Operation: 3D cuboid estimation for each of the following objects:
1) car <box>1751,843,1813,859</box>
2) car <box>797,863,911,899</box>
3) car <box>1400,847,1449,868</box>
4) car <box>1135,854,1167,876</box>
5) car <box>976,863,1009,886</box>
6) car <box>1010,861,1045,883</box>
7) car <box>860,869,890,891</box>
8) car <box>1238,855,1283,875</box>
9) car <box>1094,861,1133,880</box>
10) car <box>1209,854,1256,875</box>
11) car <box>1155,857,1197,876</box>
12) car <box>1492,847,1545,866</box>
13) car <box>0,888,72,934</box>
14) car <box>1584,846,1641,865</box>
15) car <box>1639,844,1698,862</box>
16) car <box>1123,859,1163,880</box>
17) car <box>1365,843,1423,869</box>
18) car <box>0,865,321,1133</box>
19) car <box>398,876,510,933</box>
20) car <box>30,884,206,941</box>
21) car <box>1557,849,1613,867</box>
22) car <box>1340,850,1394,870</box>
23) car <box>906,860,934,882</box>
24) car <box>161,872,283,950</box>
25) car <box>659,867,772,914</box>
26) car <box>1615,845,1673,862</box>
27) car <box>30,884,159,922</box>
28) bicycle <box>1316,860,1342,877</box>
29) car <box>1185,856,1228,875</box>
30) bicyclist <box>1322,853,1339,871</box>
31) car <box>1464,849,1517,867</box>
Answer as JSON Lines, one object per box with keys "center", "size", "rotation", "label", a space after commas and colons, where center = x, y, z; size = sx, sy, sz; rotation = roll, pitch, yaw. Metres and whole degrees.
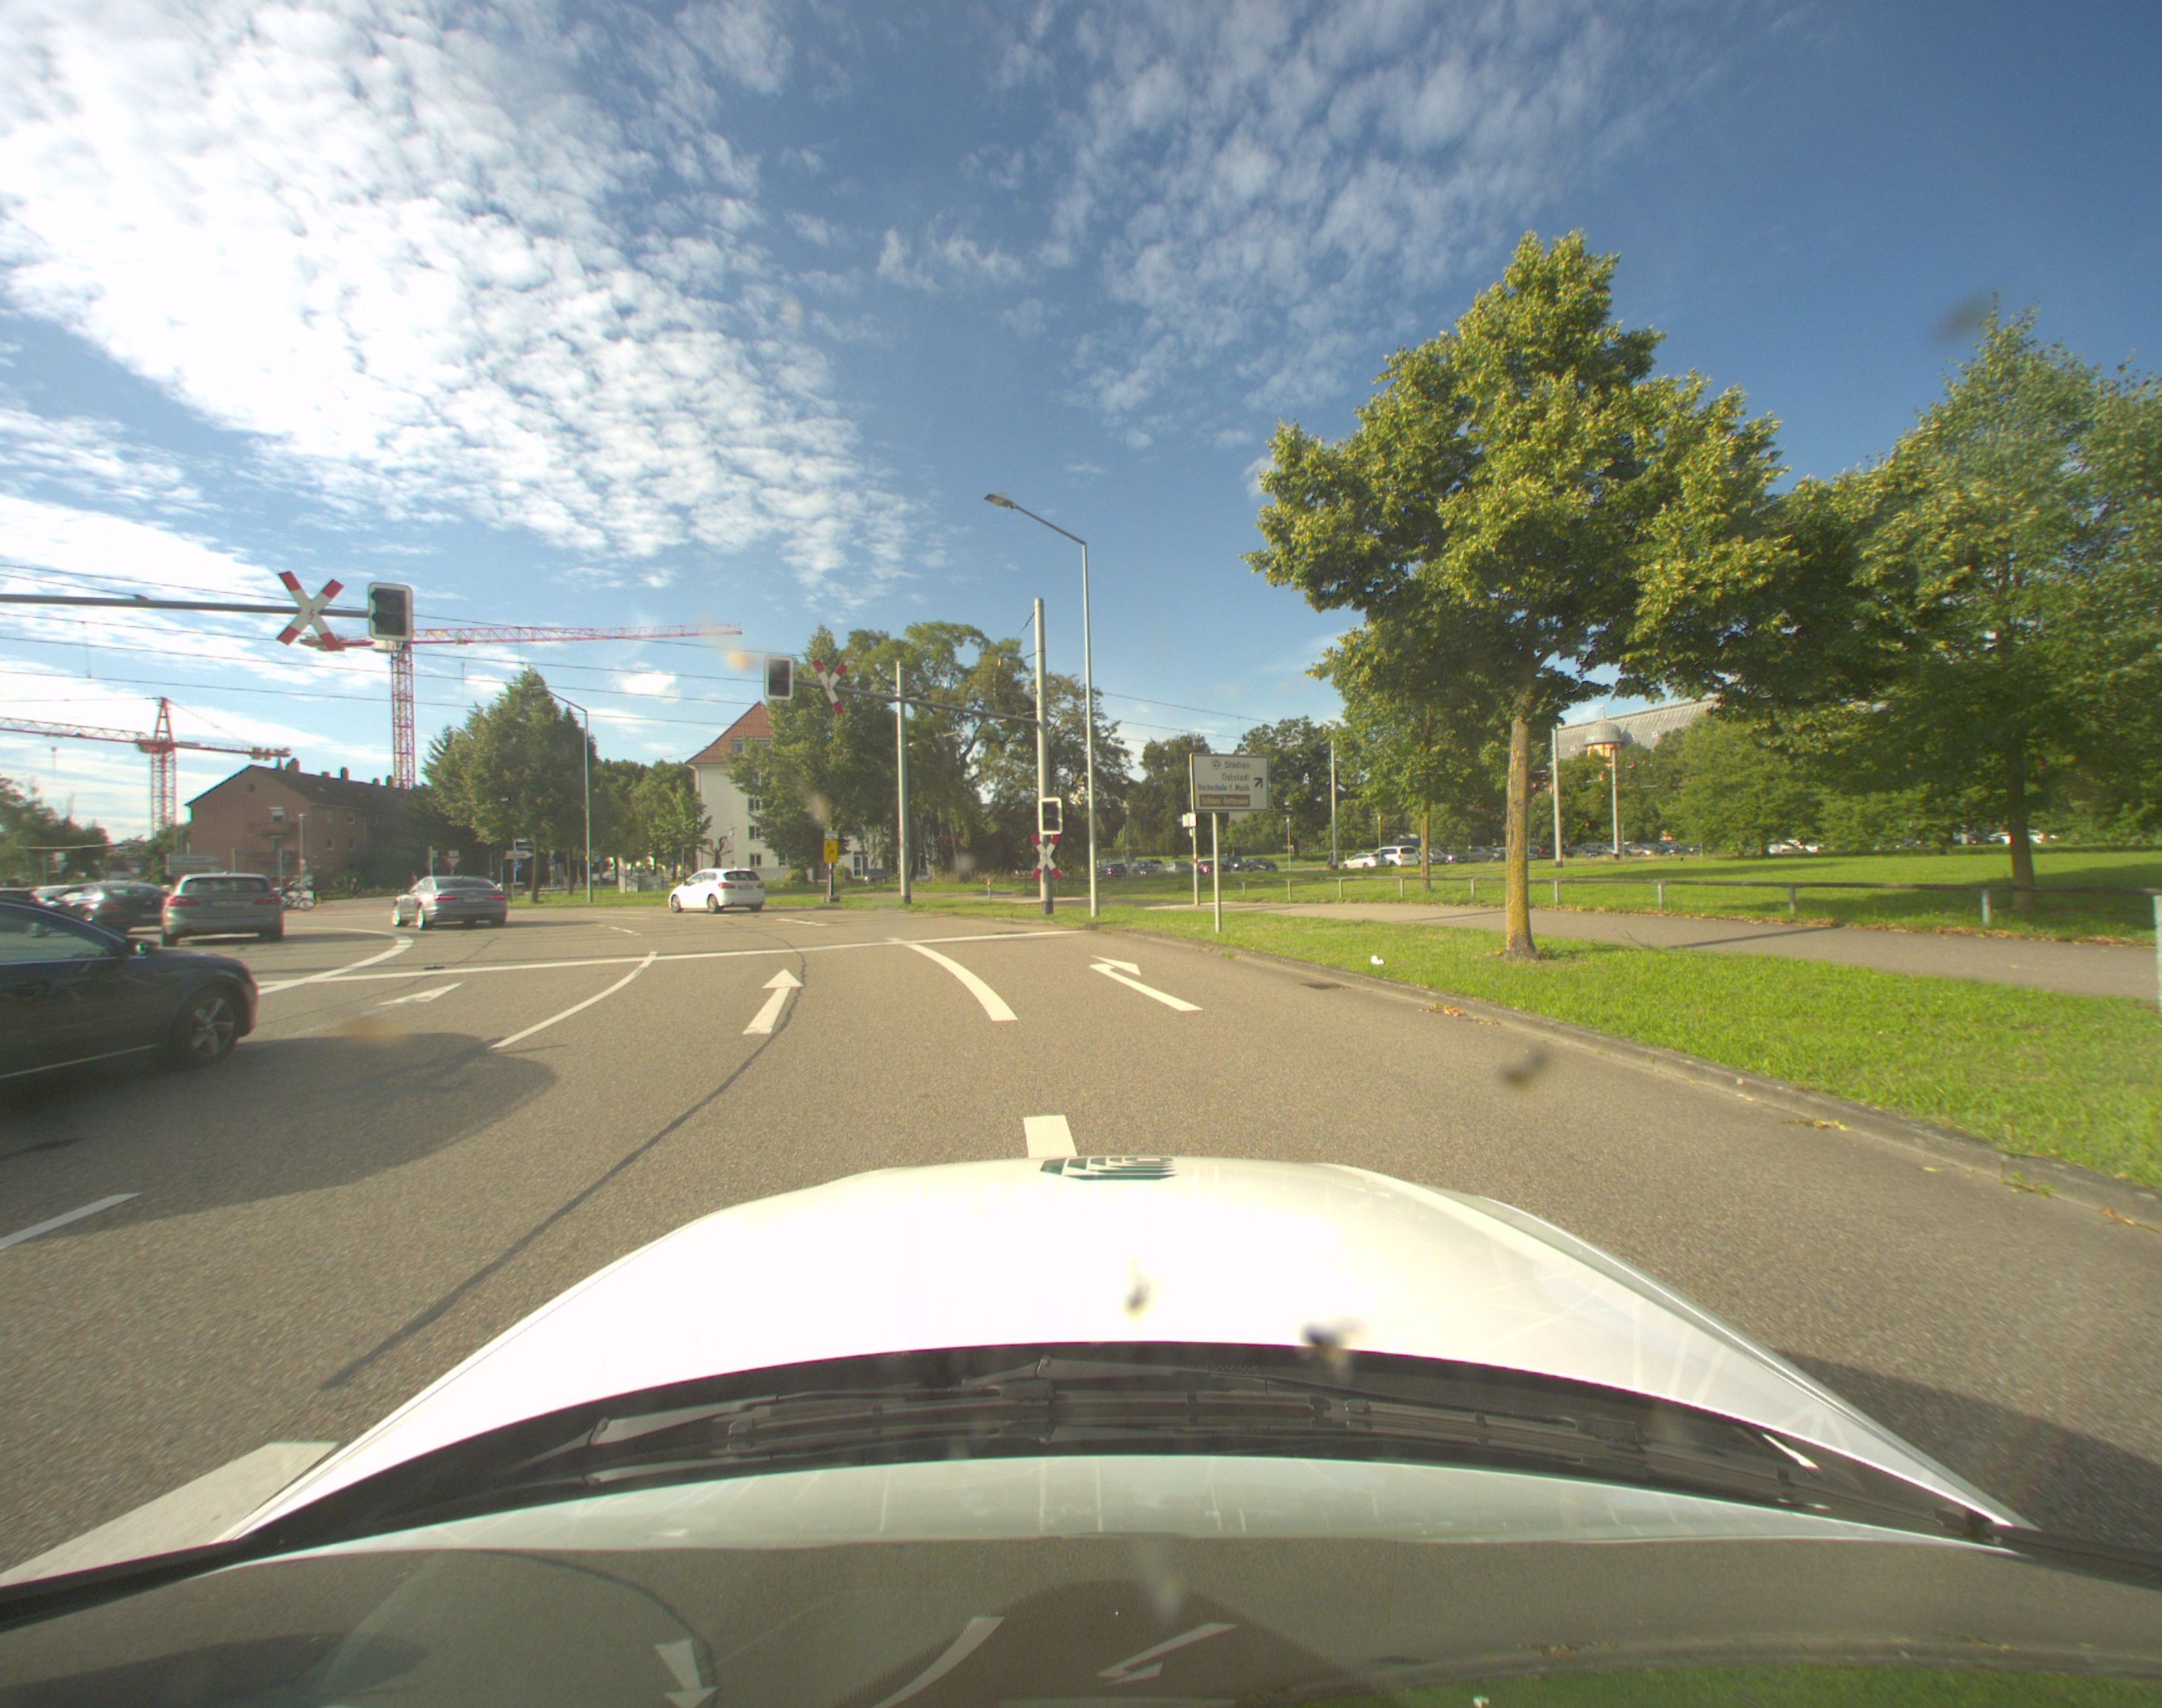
{"center": [69.365, -0.249, 80.688], "size": [1.795, 1.475, 4.450], "rotation": [-2, -1, -12], "label": "car"}
{"center": [-9.862, 1.144, 35.569], "size": [4.655, 1.431, 1.892], "rotation": [-1, -1, -16], "label": "car"}
{"center": [29.455, 0.347, 69.987], "size": [2.092, 1.674, 4.462], "rotation": [-2, -1, -4], "label": "car"}
{"center": [6.528, 1.057, 76.258], "size": [1.872, 2.014, 4.793], "rotation": [0, -2, -10], "label": "car"}
{"center": [-6.595, 1.497, 60.310], "size": [1.857, 1.515, 4.713], "rotation": [-2, -1, -12], "label": "car"}
{"center": [-4.055, 1.370, 60.976], "size": [1.857, 1.515, 4.713], "rotation": [-2, -1, -12], "label": "car"}
{"center": [-14.711, 1.828, 58.321], "size": [1.857, 1.381, 4.496], "rotation": [-2, -1, -12], "label": "car"}
{"center": [14.566, 0.905, 66.169], "size": [1.857, 1.515, 4.450], "rotation": [-2, -1, -12], "label": "car"}
{"center": [2.447, 1.238, 62.759], "size": [1.857, 1.359, 4.713], "rotation": [-2, -1, -12], "label": "car"}
{"center": [12.089, 0.863, 65.319], "size": [1.857, 1.515, 4.924], "rotation": [-2, -1, -12], "label": "car"}
{"center": [7.465, 0.988, 64.504], "size": [1.857, 1.358, 4.813], "rotation": [-2, -1, -12], "label": "car"}
{"center": [38.598, 0.258, 71.976], "size": [1.855, 1.504, 4.455], "rotation": [-2, -1, -9], "label": "car"}
{"center": [-38.552, 2.003, 28.531], "size": [4.418, 1.478, 1.859], "rotation": [-1, -1, 5], "label": "car"}
{"center": [48.634, 0.167, 74.646], "size": [1.853, 1.541, 4.455], "rotation": [-2, -1, -9], "label": "car"}
{"center": [54.970, -0.073, 76.318], "size": [1.853, 1.541, 4.455], "rotation": [-2, -1, -9], "label": "car"}
{"center": [4.769, 1.171, 63.437], "size": [1.857, 1.515, 4.727], "rotation": [-2, -1, -12], "label": "car"}
{"center": [26.496, 0.198, 69.080], "size": [2.309, 2.007, 5.096], "rotation": [-2, -1, -9], "label": "car"}
{"center": [-7.309, 0.850, 4.680], "size": [1.994, 1.567, 4.826], "rotation": [0, -1, -11], "label": "car"}
{"center": [-17.919, 1.370, 23.184], "size": [4.655, 1.445, 1.867], "rotation": [-2, -2, 44], "label": "car"}
{"center": [-27.719, 1.631, 23.457], "size": [3.953, 1.541, 2.010], "rotation": [-1, -2, 21], "label": "car"}
{"center": [46.015, 0.374, 74.467], "size": [1.797, 1.515, 4.455], "rotation": [-2, -1, -9], "label": "car"}
{"center": [23.865, 0.505, 68.134], "size": [1.861, 1.515, 4.439], "rotation": [-2, -1, -20], "label": "car"}
{"center": [-11.770, 1.230, 59.448], "size": [1.857, 1.440, 4.713], "rotation": [-2, -1, -12], "label": "car"}
{"center": [-19.709, 1.237, 18.793], "size": [4.016, 1.572, 1.784], "rotation": [-2, -2, 45], "label": "car"}
{"center": [-13.261, 1.294, 29.483], "size": [4.397, 1.572, 1.868], "rotation": [-2, -2, 37], "label": "car"}
{"center": [52.372, -0.035, 75.849], "size": [1.853, 1.454, 4.455], "rotation": [-2, -1, -9], "label": "car"}
{"center": [-54.708, 2.671, 45.341], "size": [1.895, 1.903, 4.647], "rotation": [-1, -1, -8], "label": "car"}
{"center": [18.479, 1.079, 60.653], "size": [2.543, 1.222, 0.705], "rotation": [-2, 0, -44], "label": "bicycle"}
{"center": [9.974, 0.912, 64.988], "size": [1.857, 1.363, 4.450], "rotation": [-2, -1, -12], "label": "car"}
{"center": [18.599, 0.587, 60.706], "size": [1.011, 1.355, 0.705], "rotation": [-2, -1, -44], "label": "bicyclist"}
{"center": [35.895, 0.379, 71.551], "size": [1.855, 1.398, 4.455], "rotation": [-2, -1, -9], "label": "car"}
